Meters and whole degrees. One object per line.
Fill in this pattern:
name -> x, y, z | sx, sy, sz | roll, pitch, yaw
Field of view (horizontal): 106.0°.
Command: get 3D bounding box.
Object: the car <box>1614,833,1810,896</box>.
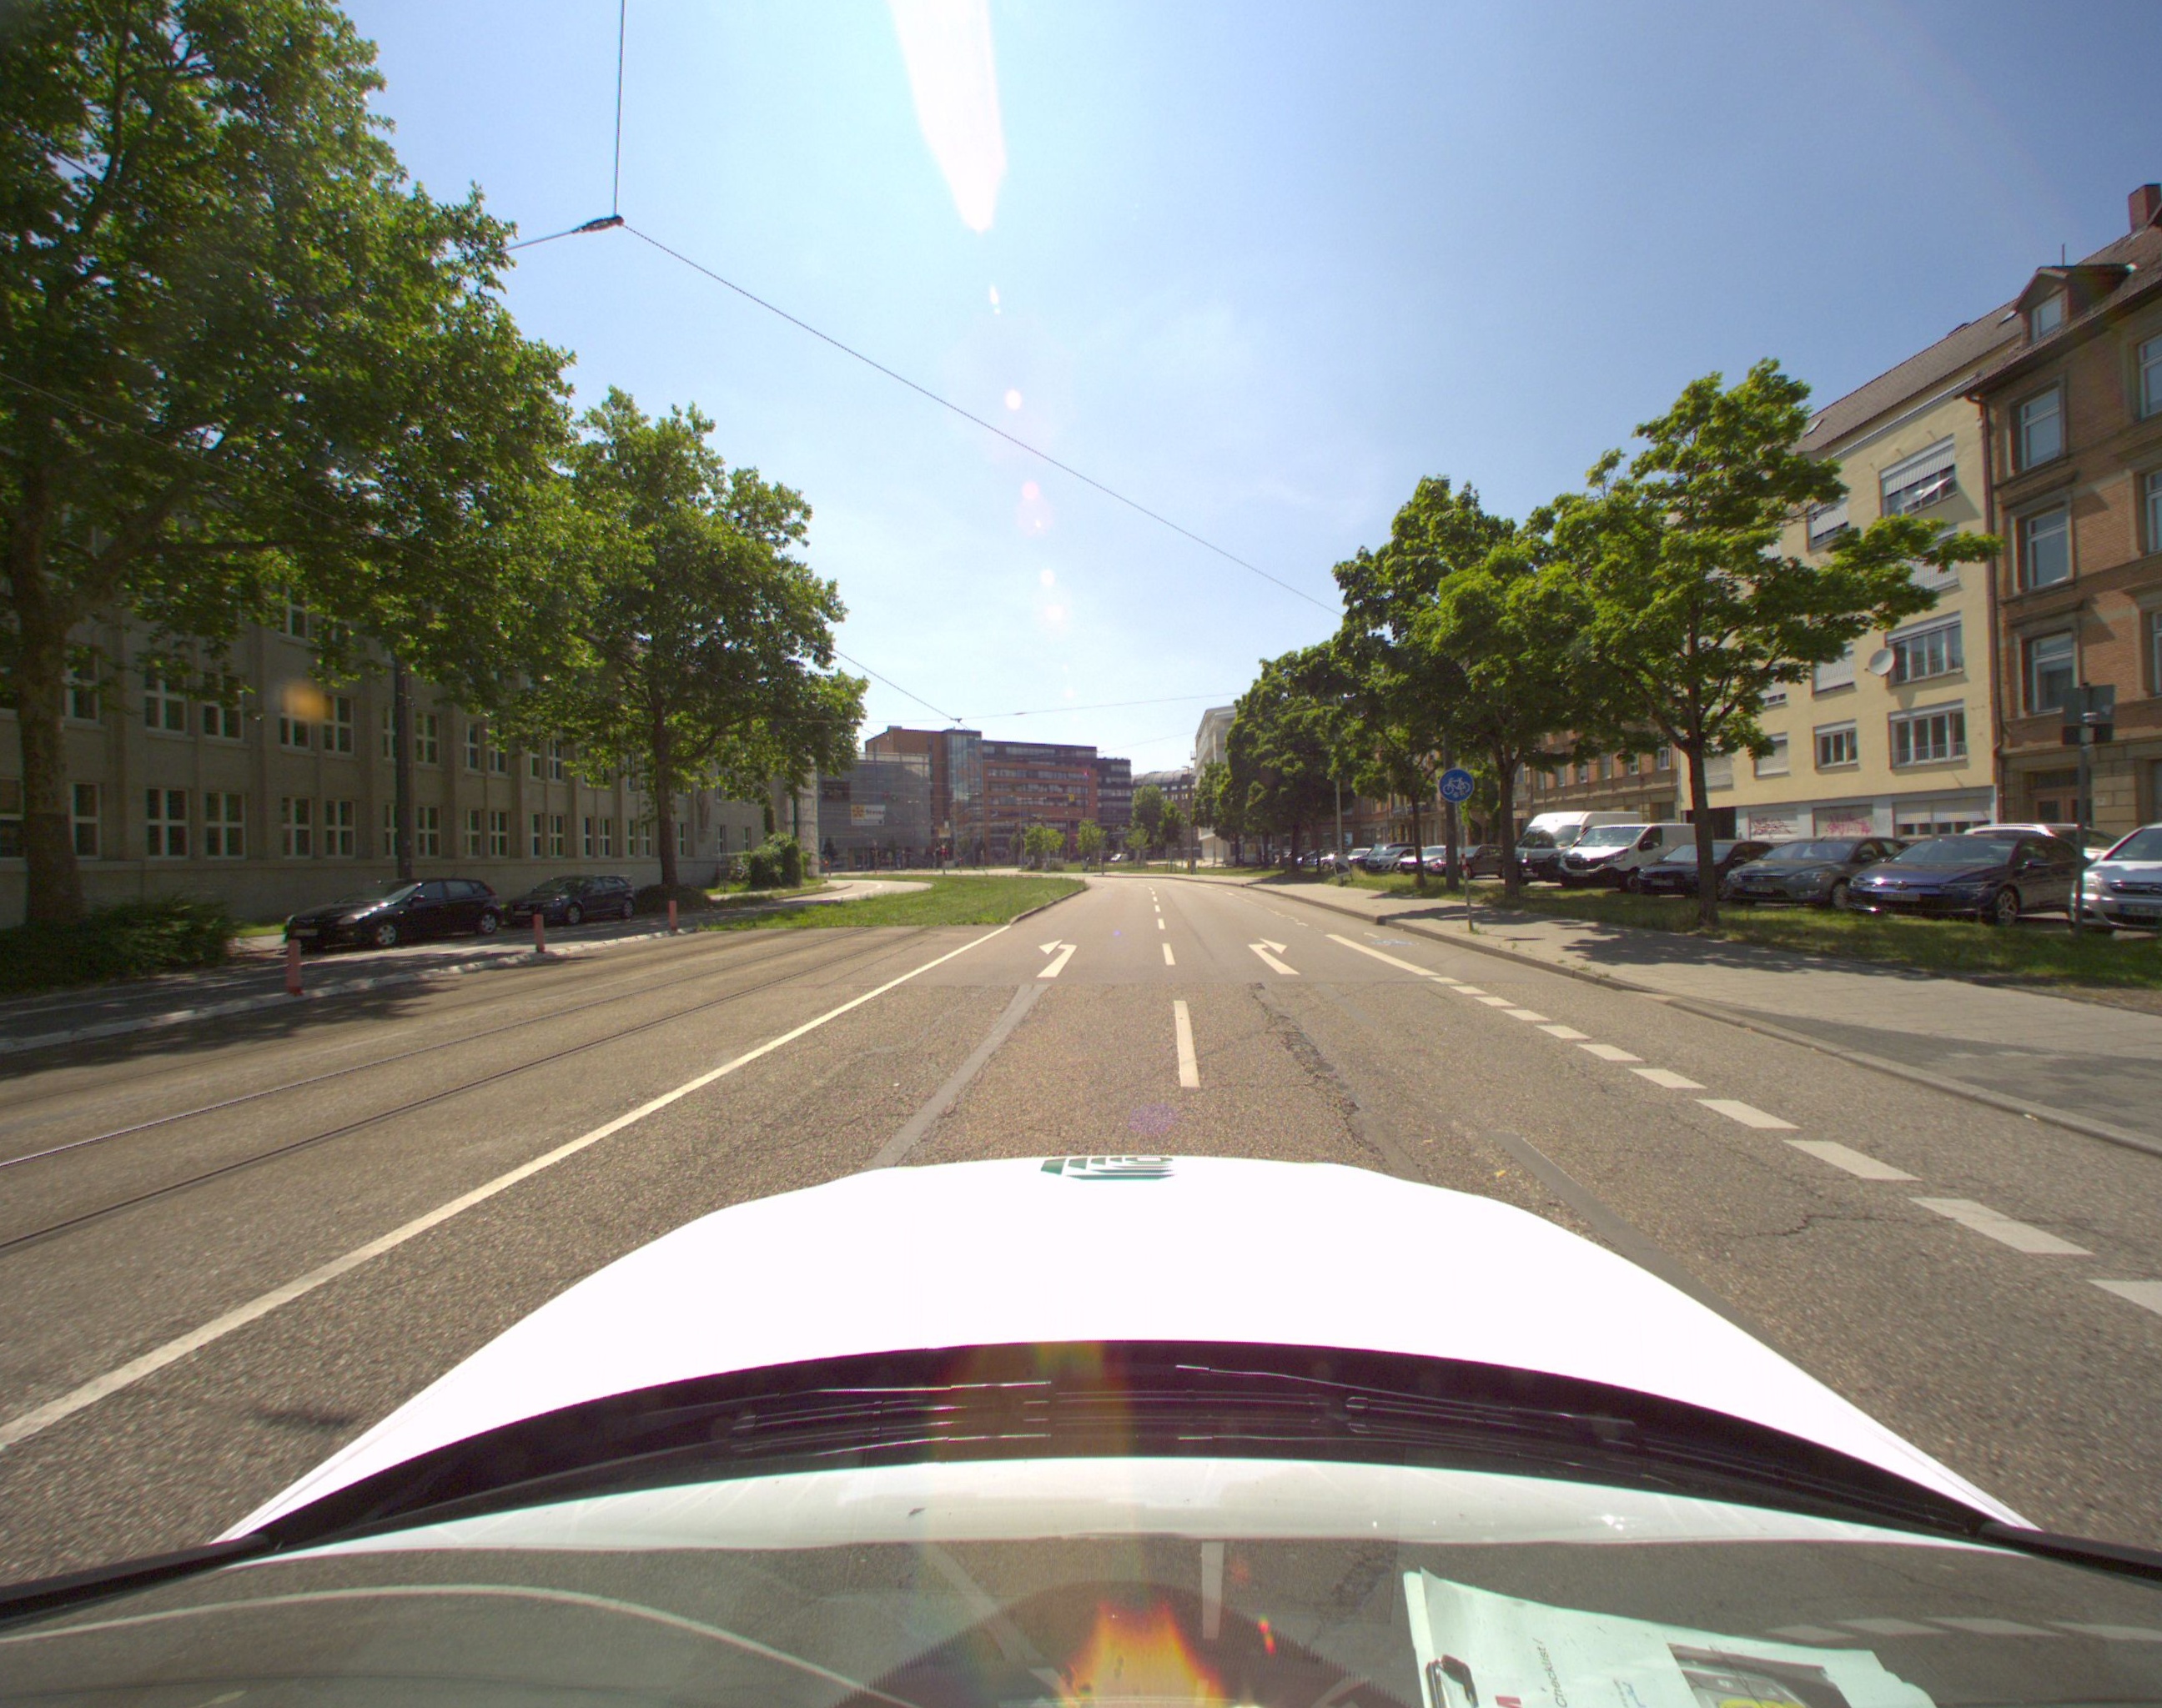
car -> 15.322, 0.221, 19.815 | 3.996, 1.387, 1.813 | -1, 0, -17

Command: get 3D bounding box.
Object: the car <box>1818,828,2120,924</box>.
car -> 14.532, 0.309, 13.378 | 3.996, 1.399, 1.813 | -1, 0, -17

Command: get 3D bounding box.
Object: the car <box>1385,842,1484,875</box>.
car -> 16.529, 0.180, 37.993 | 4.710, 1.427, 1.952 | -1, 0, -33

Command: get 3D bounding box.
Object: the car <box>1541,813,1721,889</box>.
car -> 15.755, -0.101, 23.319 | 4.856, 1.973, 2.059 | -1, 0, -25

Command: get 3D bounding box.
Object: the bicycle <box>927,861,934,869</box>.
bicycle -> -30.994, 2.300, 167.355 | 0.602, 1.731, 2.237 | -1, 0, -32

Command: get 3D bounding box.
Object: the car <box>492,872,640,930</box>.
car -> -15.052, 1.316, 24.121 | 1.582, 1.424, 4.324 | -1, 0, 1

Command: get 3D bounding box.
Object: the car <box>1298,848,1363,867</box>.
car -> 17.573, 0.234, 57.366 | 3.997, 1.313, 1.960 | -1, 0, -18

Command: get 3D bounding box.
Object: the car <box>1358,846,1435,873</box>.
car -> 17.223, 0.271, 44.438 | 4.010, 1.400, 1.697 | -1, 0, -28

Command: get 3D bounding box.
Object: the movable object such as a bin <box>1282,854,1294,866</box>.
movable object such as a bin -> 17.472, 0.508, 68.836 | 0.978, 0.937, 0.704 | -1, 0, 15

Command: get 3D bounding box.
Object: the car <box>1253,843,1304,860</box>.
car -> 19.780, -0.218, 81.521 | 4.879, 1.601, 1.822 | -1, 0, -23

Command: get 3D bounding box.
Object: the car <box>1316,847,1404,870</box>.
car -> 17.009, 0.266, 49.732 | 4.784, 1.313, 2.137 | -1, 0, -18

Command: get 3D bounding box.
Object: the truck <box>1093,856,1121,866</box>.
truck -> 7.987, 2.165, 250.650 | 9.120, 2.809, 2.013 | -1, 0, 36

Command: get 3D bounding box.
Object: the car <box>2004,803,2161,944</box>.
car -> 14.525, 0.200, 10.433 | 4.410, 1.632, 1.988 | -1, 0, -18

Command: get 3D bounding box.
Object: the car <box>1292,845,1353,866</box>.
car -> 17.899, 0.095, 60.381 | 4.097, 1.470, 1.784 | -1, 0, -23

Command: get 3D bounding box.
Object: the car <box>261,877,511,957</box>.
car -> -15.631, 1.338, 18.685 | 1.754, 1.483, 4.329 | -1, 0, 5

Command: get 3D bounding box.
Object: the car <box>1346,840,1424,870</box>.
car -> 17.745, 0.039, 47.558 | 4.003, 1.662, 1.958 | -1, 0, -22

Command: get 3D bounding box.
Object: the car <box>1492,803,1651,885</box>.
car -> 16.177, -0.313, 26.750 | 5.572, 2.460, 2.215 | -1, 0, -33

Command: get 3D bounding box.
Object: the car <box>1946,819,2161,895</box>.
car -> 24.197, 0.063, 19.992 | 1.811, 1.684, 4.003 | -1, 0, 3

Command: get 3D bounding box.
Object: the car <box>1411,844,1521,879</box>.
car -> 16.331, 0.293, 34.527 | 4.443, 1.338, 1.954 | -1, 0, -28

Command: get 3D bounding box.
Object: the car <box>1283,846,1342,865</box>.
car -> 17.876, 0.089, 62.959 | 4.351, 1.376, 1.571 | -1, 0, -22

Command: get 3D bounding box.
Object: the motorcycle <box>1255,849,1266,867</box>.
motorcycle -> 14.979, 0.340, 67.985 | 0.671, 1.413, 1.859 | -3, 0, 6

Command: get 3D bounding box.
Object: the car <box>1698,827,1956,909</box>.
car -> 15.165, 0.236, 16.572 | 4.633, 1.497, 1.952 | -1, 0, -20
